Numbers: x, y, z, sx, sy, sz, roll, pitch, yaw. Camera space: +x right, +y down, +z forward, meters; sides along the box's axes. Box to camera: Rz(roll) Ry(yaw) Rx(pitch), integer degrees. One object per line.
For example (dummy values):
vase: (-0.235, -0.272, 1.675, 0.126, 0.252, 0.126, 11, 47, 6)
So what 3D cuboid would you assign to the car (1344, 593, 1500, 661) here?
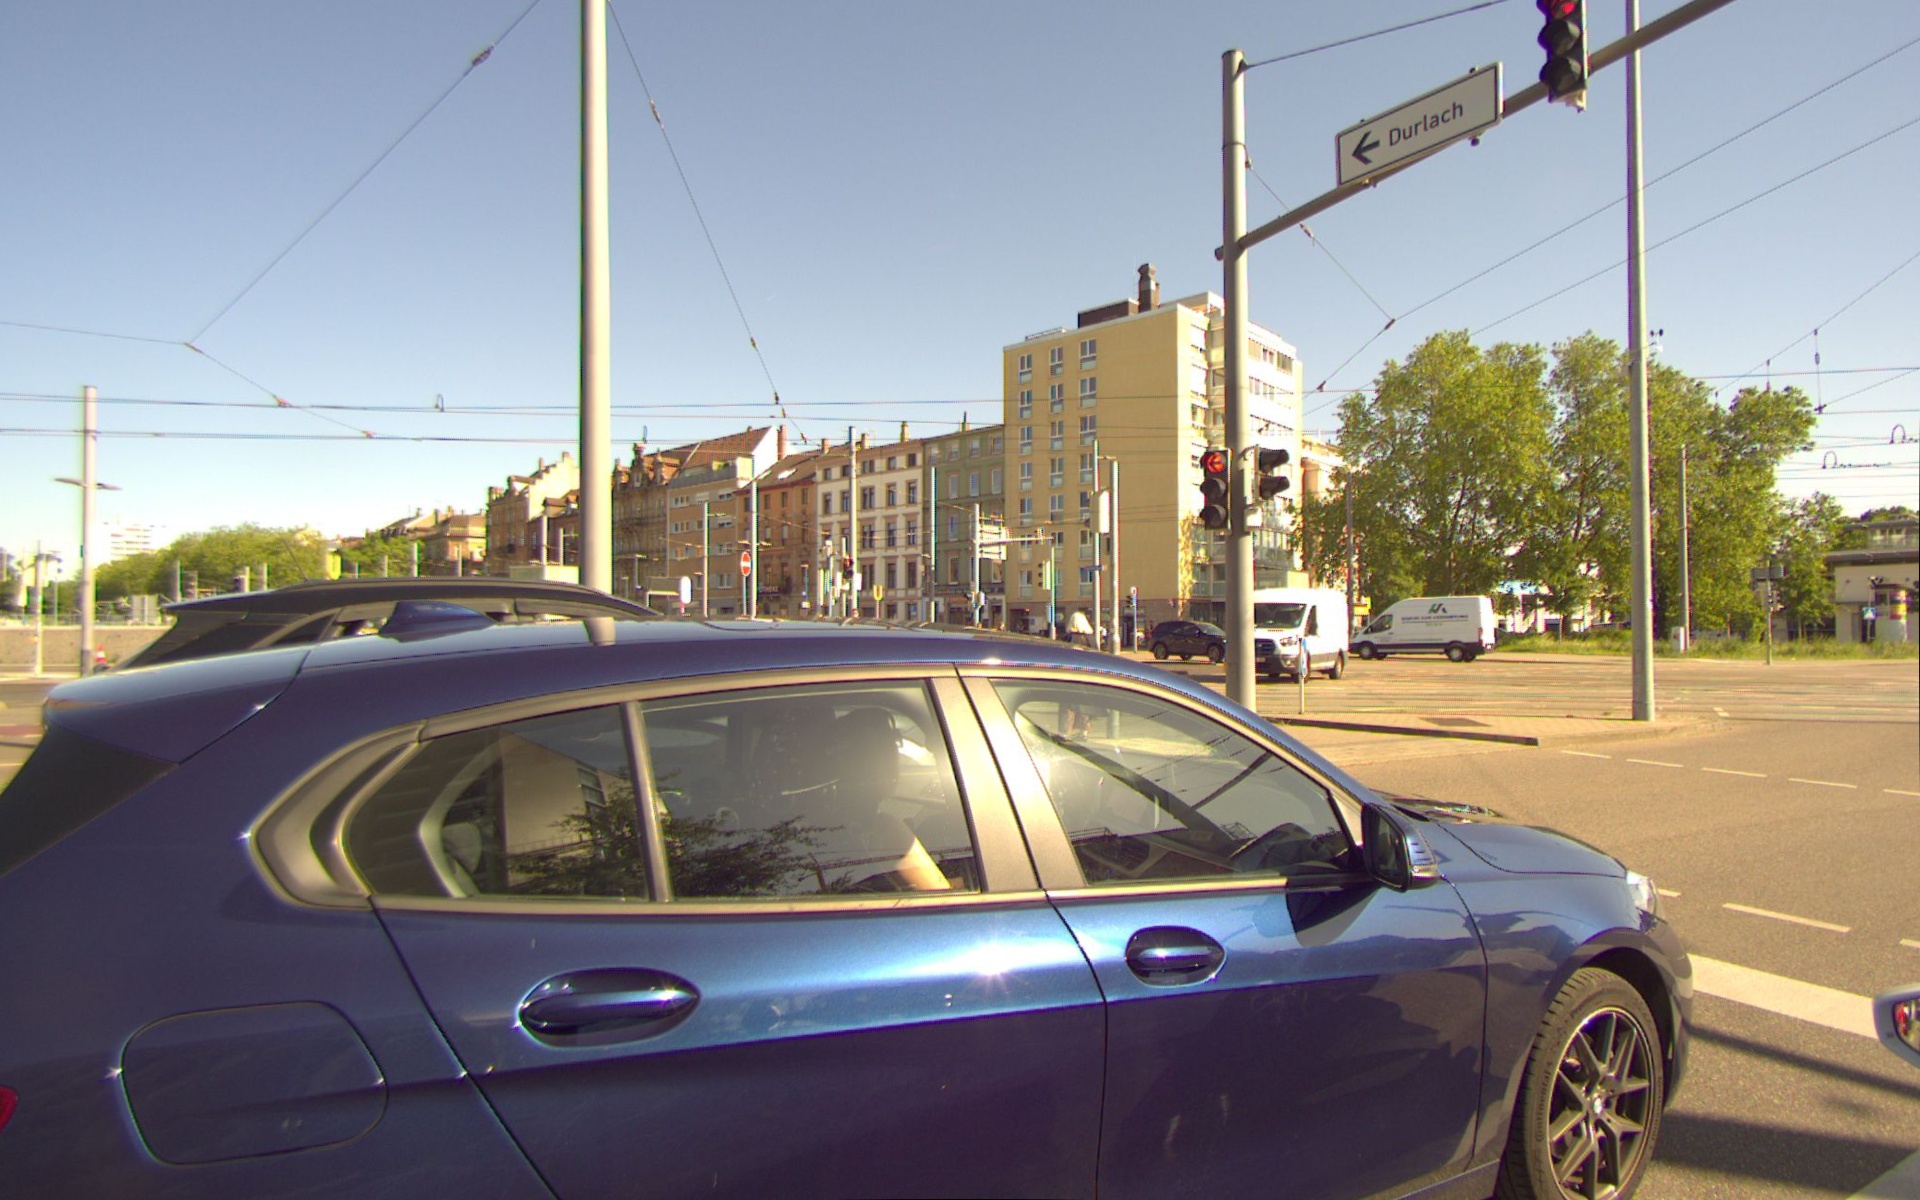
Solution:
car: (20.077, 1.181, 43.877, 5.838, 2.780, 2.133, -1, -2, 42)

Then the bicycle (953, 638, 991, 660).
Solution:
bicycle: (0.552, 2.244, 46.223, 1.666, 0.958, 0.614, 1, -1, -30)

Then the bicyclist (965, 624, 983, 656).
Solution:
bicyclist: (0.639, 1.837, 46.289, 0.609, 1.462, 0.614, 1, -1, -30)

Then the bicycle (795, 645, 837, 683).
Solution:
bicycle: (-3.749, 1.642, 26.092, 0.668, 0.890, 1.889, 1, -2, -21)

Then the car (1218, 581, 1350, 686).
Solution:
car: (8.843, 0.889, 27.069, 1.967, 2.541, 5.403, -1, -2, 34)

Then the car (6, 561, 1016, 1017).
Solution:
car: (-1.858, 0.674, 5.103, 3.959, 1.537, 1.751, 1, -1, -28)

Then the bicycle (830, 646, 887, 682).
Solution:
bicycle: (-2.687, 1.673, 26.527, 0.672, 0.890, 1.880, 1, -2, -35)

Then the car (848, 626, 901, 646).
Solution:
car: (-6.302, 2.643, 74.431, 1.749, 1.446, 3.863, -1, -2, 39)

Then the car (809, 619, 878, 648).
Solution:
car: (-7.199, 2.059, 62.083, 4.244, 1.675, 1.849, -1, -2, 40)

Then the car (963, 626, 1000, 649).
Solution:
car: (1.379, 2.484, 67.002, 1.745, 1.446, 3.873, 0, -2, -10)

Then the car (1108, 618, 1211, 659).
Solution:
car: (8.526, 1.628, 43.076, 4.018, 1.681, 1.858, -1, -2, 45)

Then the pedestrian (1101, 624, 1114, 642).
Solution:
pedestrian: (9.794, 2.184, 66.503, 0.739, 1.142, 0.422, -1, -2, 41)

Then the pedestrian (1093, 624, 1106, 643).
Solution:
pedestrian: (9.078, 2.191, 65.395, 0.738, 1.220, 0.422, -1, -2, 39)

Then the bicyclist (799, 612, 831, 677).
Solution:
bicyclist: (-3.794, 1.148, 26.191, 0.668, 1.676, 0.781, 1, -1, -22)

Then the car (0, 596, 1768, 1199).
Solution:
car: (0.079, 0.769, 2.516, 3.984, 1.464, 1.703, 1, 0, -30)

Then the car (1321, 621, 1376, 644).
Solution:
car: (29.808, 2.485, 77.128, 3.691, 1.684, 1.586, -1, -2, 42)

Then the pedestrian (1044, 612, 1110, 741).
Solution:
pedestrian: (1.468, 0.947, 12.605, 0.749, 1.575, 0.356, 0, -1, -19)

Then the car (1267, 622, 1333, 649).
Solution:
car: (21.519, 2.241, 63.618, 3.691, 1.684, 1.586, -1, -2, 42)

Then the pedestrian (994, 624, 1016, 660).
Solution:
pedestrian: (2.018, 1.871, 45.262, 0.669, 1.593, 0.740, 1, -2, -45)

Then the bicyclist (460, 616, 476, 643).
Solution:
bicyclist: (-26.390, 1.576, 53.882, 0.672, 1.474, 0.777, 1, -1, -35)

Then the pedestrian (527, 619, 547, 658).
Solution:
pedestrian: (-18.937, 1.717, 44.965, 0.672, 1.735, 0.793, 1, -1, -38)

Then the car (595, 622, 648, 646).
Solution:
car: (-24.911, 2.509, 73.811, 4.245, 1.675, 1.849, -2, -3, 41)

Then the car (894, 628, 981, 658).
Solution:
car: (-1.194, 2.202, 52.305, 4.503, 1.521, 1.855, -1, -2, 42)

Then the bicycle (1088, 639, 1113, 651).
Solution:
bicycle: (9.126, 2.905, 65.340, 1.610, 0.769, 0.422, -1, -2, 40)

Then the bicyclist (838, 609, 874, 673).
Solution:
bicyclist: (-2.764, 1.080, 26.694, 0.672, 1.676, 0.777, 1, -1, -35)
